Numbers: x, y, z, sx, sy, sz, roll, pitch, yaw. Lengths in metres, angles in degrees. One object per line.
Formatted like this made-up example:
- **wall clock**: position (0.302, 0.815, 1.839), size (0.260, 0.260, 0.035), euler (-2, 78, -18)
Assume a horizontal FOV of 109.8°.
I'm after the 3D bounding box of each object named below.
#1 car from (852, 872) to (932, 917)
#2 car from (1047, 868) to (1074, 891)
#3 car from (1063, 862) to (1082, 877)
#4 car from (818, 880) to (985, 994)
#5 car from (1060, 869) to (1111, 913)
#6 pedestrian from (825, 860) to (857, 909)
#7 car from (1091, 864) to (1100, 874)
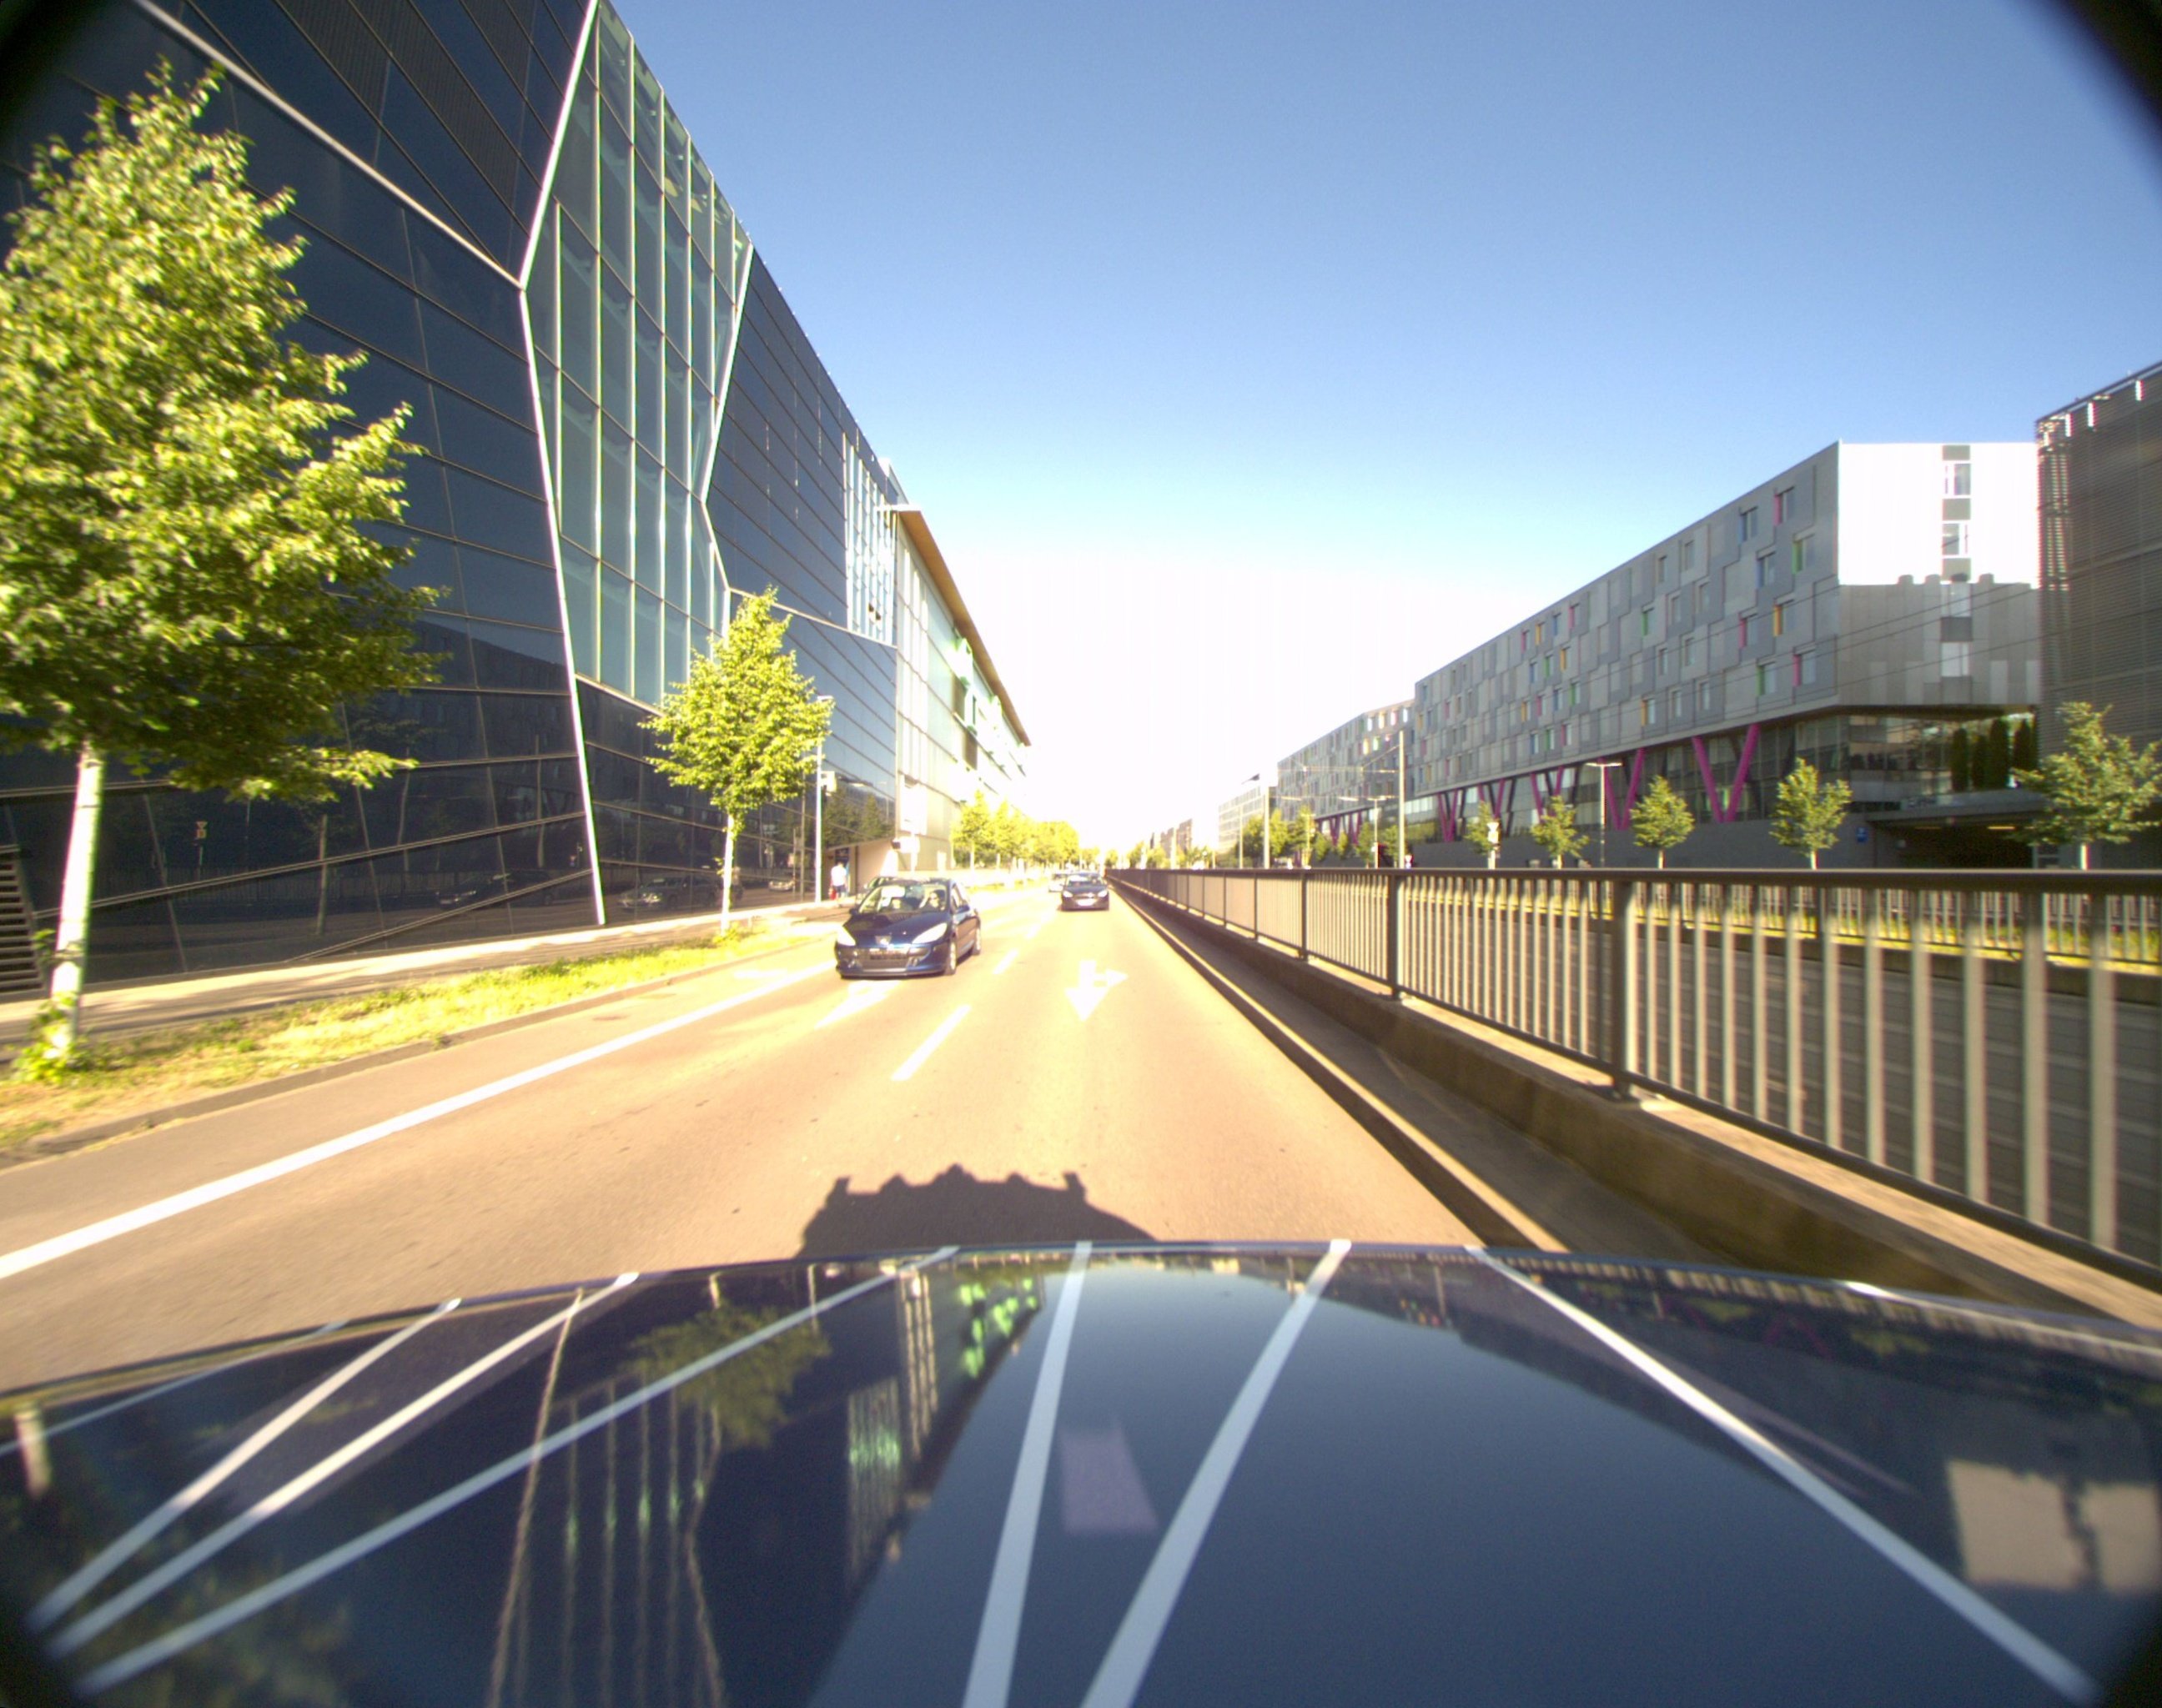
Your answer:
- **car**: position (-6.985, 1.454, 28.542), size (1.740, 1.489, 4.716), euler (2, -1, 1)
- **car**: position (-1.395, 1.761, 53.258), size (1.753, 1.469, 3.418), euler (-1, -1, 1)
- **car**: position (-0.844, 1.630, 81.196), size (1.907, 1.612, 4.000), euler (0, 0, 1)
- **car**: position (-2.756, 1.226, 12.572), size (1.753, 1.469, 3.972), euler (-1, -1, 1)
- **car**: position (0.194, 1.368, 29.447), size (1.787, 1.499, 4.590), euler (-1, -1, 1)
- **pedestrian**: position (-9.234, 1.165, 29.286), size (0.828, 1.813, 0.905), euler (3, 0, 1)
- **car**: position (3.131, 3.229, 165.401), size (1.998, 2.002, 4.000), euler (-2, 0, 1)
